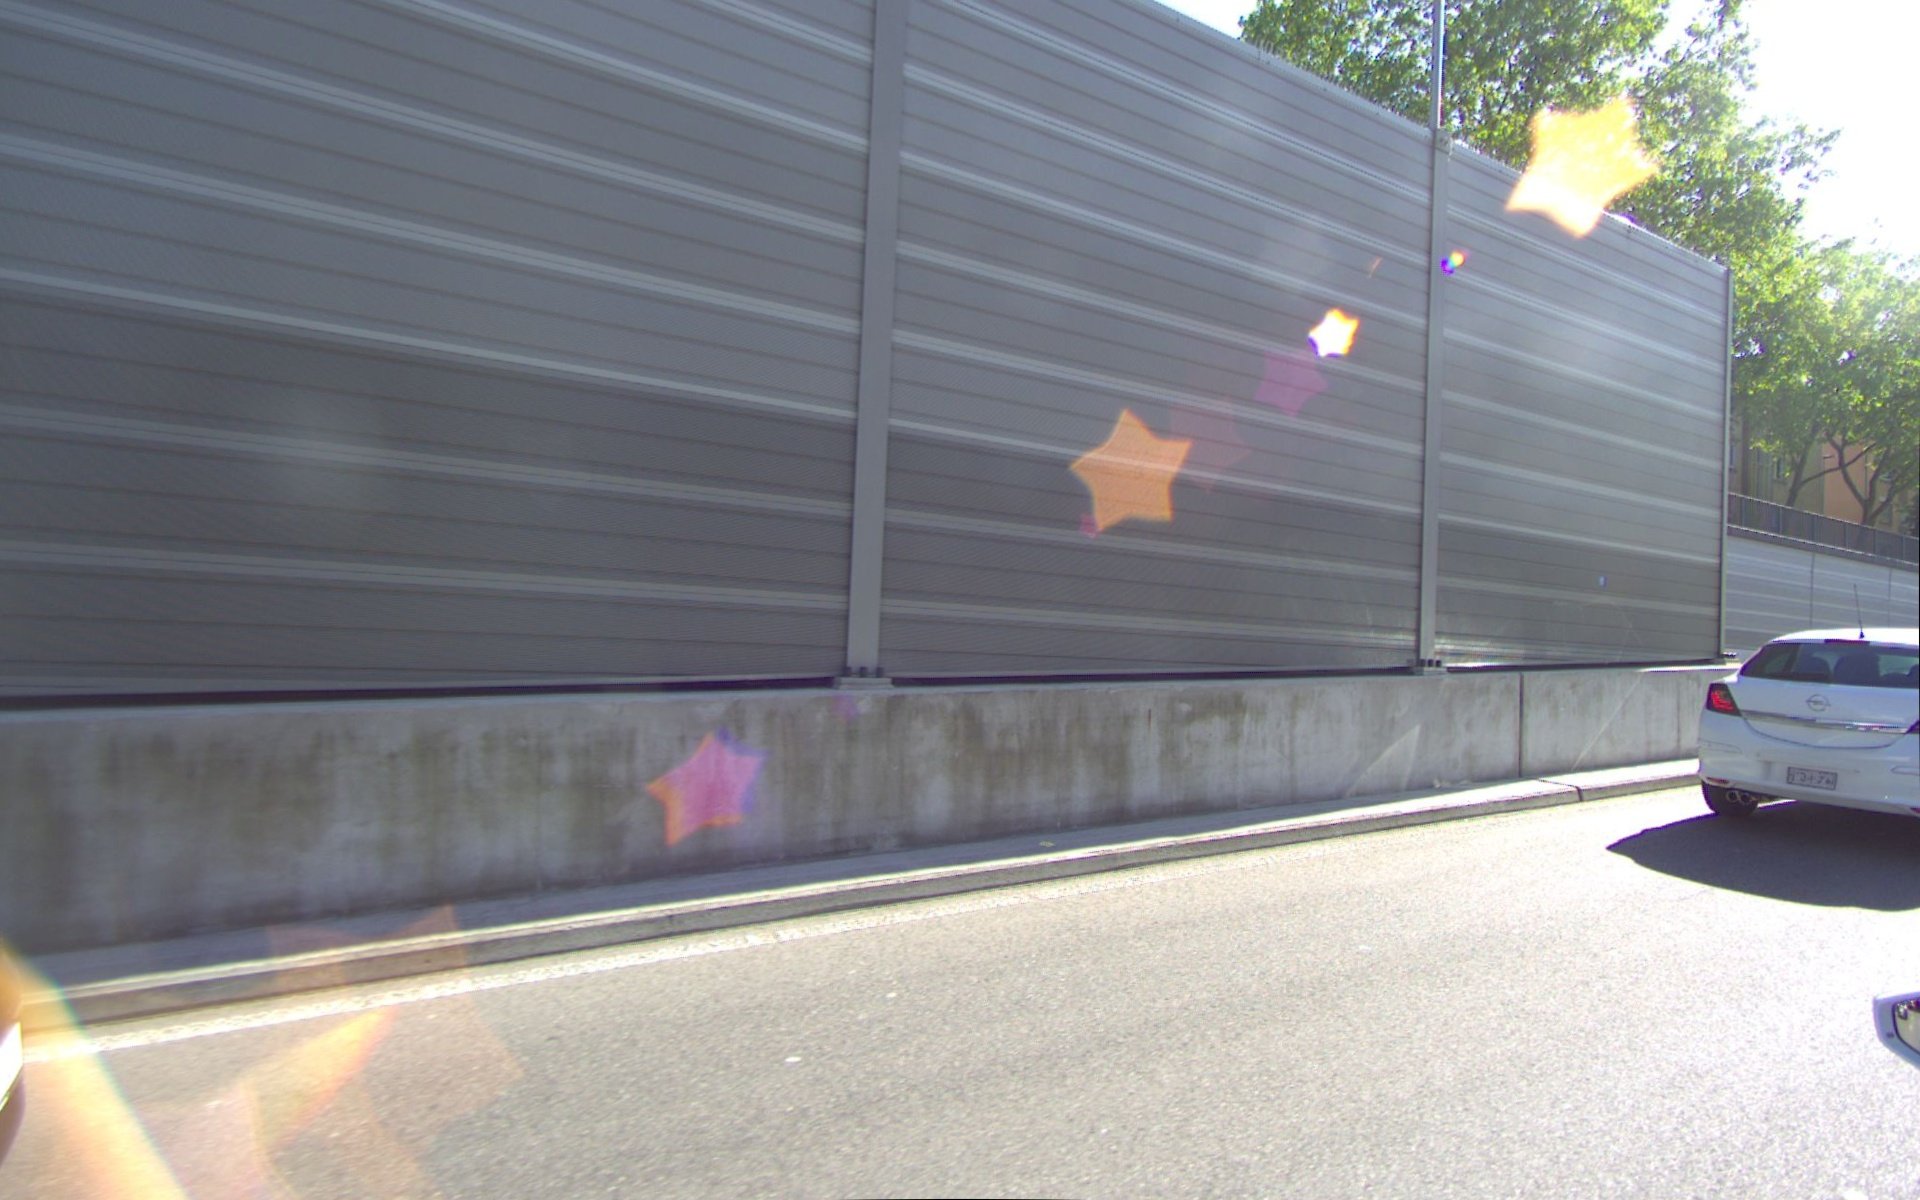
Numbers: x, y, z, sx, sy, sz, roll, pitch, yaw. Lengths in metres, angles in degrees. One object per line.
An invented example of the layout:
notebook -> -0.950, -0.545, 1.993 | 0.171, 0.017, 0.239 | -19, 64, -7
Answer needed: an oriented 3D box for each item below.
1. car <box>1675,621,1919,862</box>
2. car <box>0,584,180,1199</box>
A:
car -> 7.203, 0.926, 7.501 | 3.807, 1.422, 1.611 | 2, 0, -30
car -> -3.943, 0.663, 0.857 | 4.944, 1.458, 1.799 | 1, 0, -31
